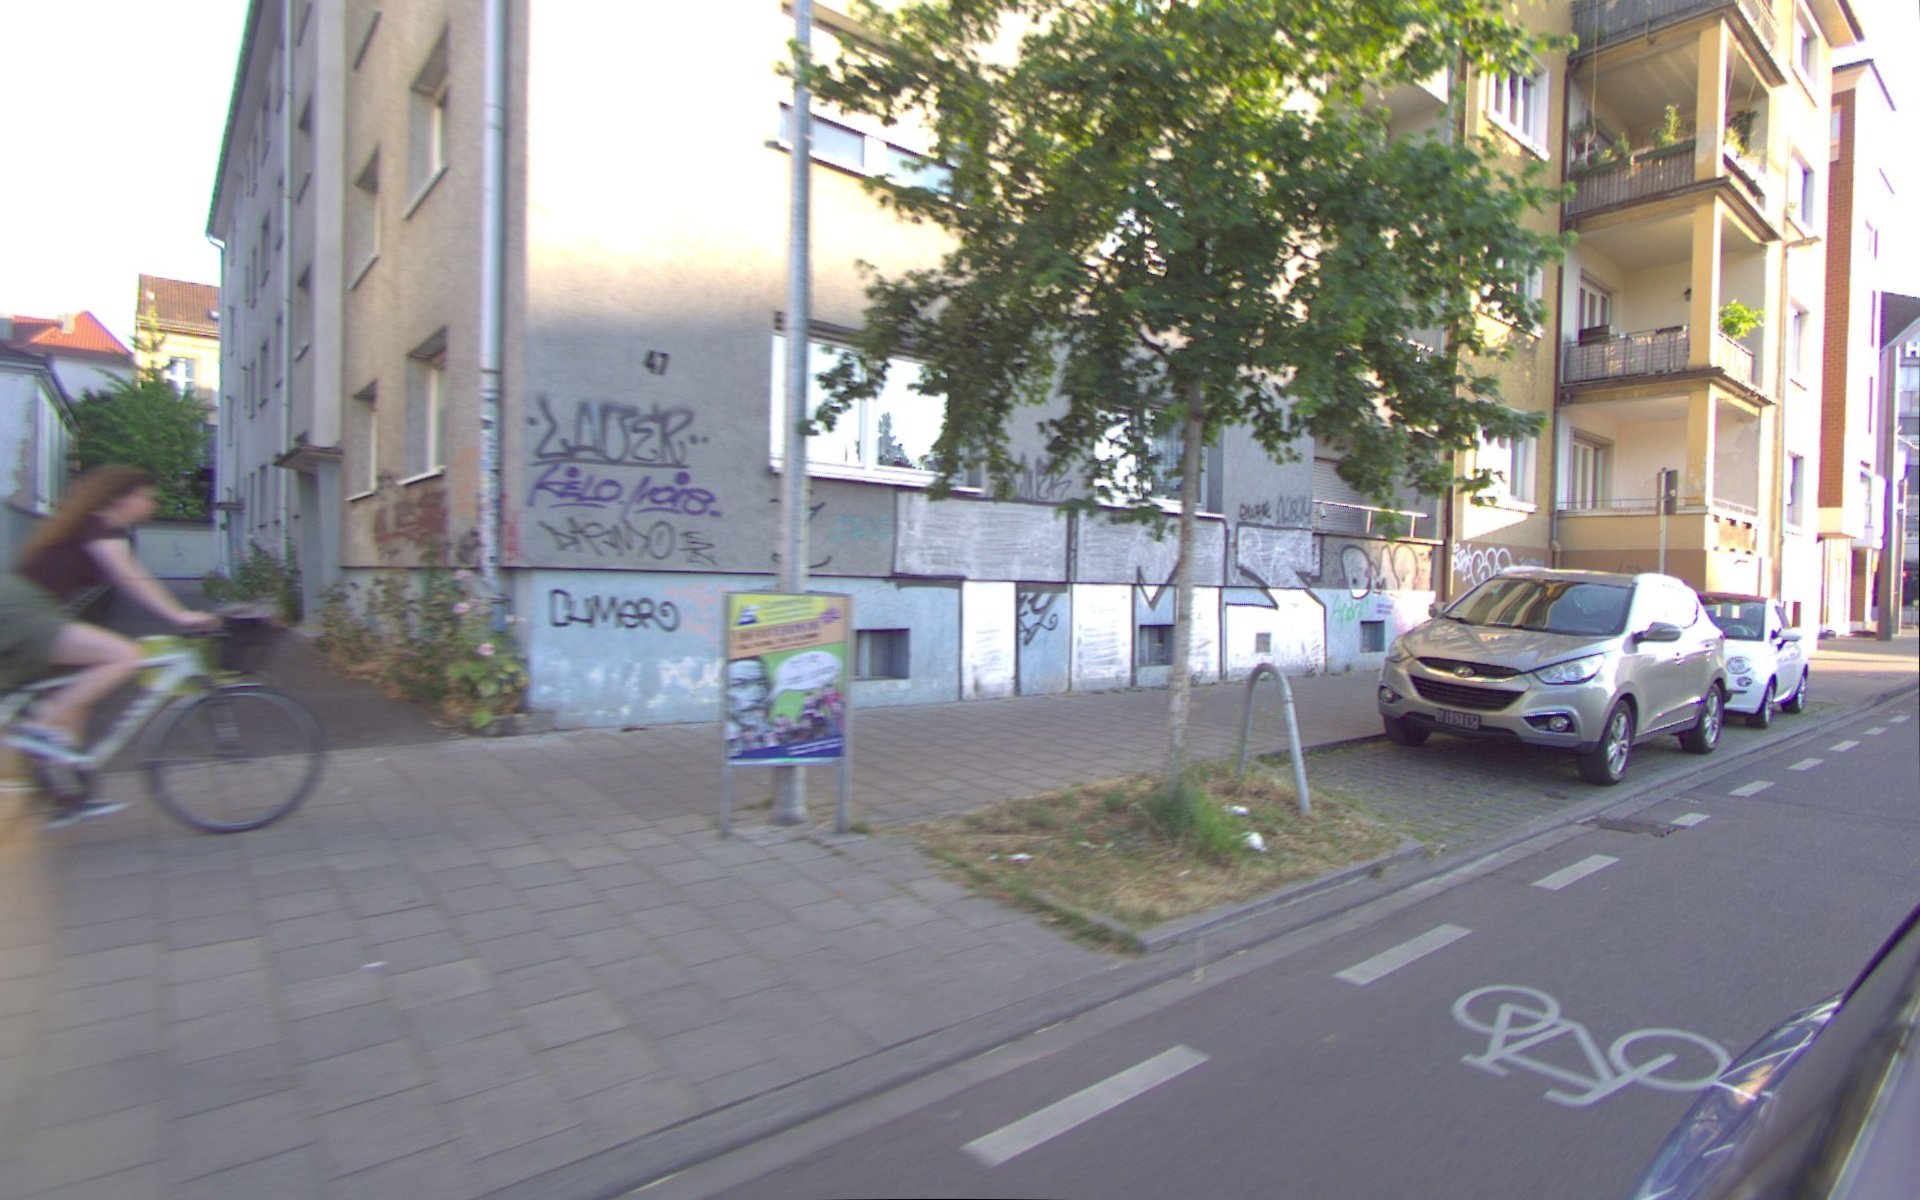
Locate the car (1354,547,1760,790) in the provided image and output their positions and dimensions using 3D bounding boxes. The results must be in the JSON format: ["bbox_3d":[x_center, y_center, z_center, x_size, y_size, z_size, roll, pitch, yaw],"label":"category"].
[{"bbox_3d":[5.611,0.451,9.266,4.448,1.674,1.761,0,4,-40],"label":"car"}]

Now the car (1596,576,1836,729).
[{"bbox_3d":[9.541,0.547,12.693,3.540,1.536,1.673,0,5,-42],"label":"car"}]

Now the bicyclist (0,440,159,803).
[{"bbox_3d":[-3.965,0.069,4.494,0.612,1.493,0.559,0,4,-42],"label":"bicyclist"}]

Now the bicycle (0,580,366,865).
[{"bbox_3d":[-3.877,0.502,4.612,1.940,1.143,0.555,-1,5,-42],"label":"bicycle"}]
